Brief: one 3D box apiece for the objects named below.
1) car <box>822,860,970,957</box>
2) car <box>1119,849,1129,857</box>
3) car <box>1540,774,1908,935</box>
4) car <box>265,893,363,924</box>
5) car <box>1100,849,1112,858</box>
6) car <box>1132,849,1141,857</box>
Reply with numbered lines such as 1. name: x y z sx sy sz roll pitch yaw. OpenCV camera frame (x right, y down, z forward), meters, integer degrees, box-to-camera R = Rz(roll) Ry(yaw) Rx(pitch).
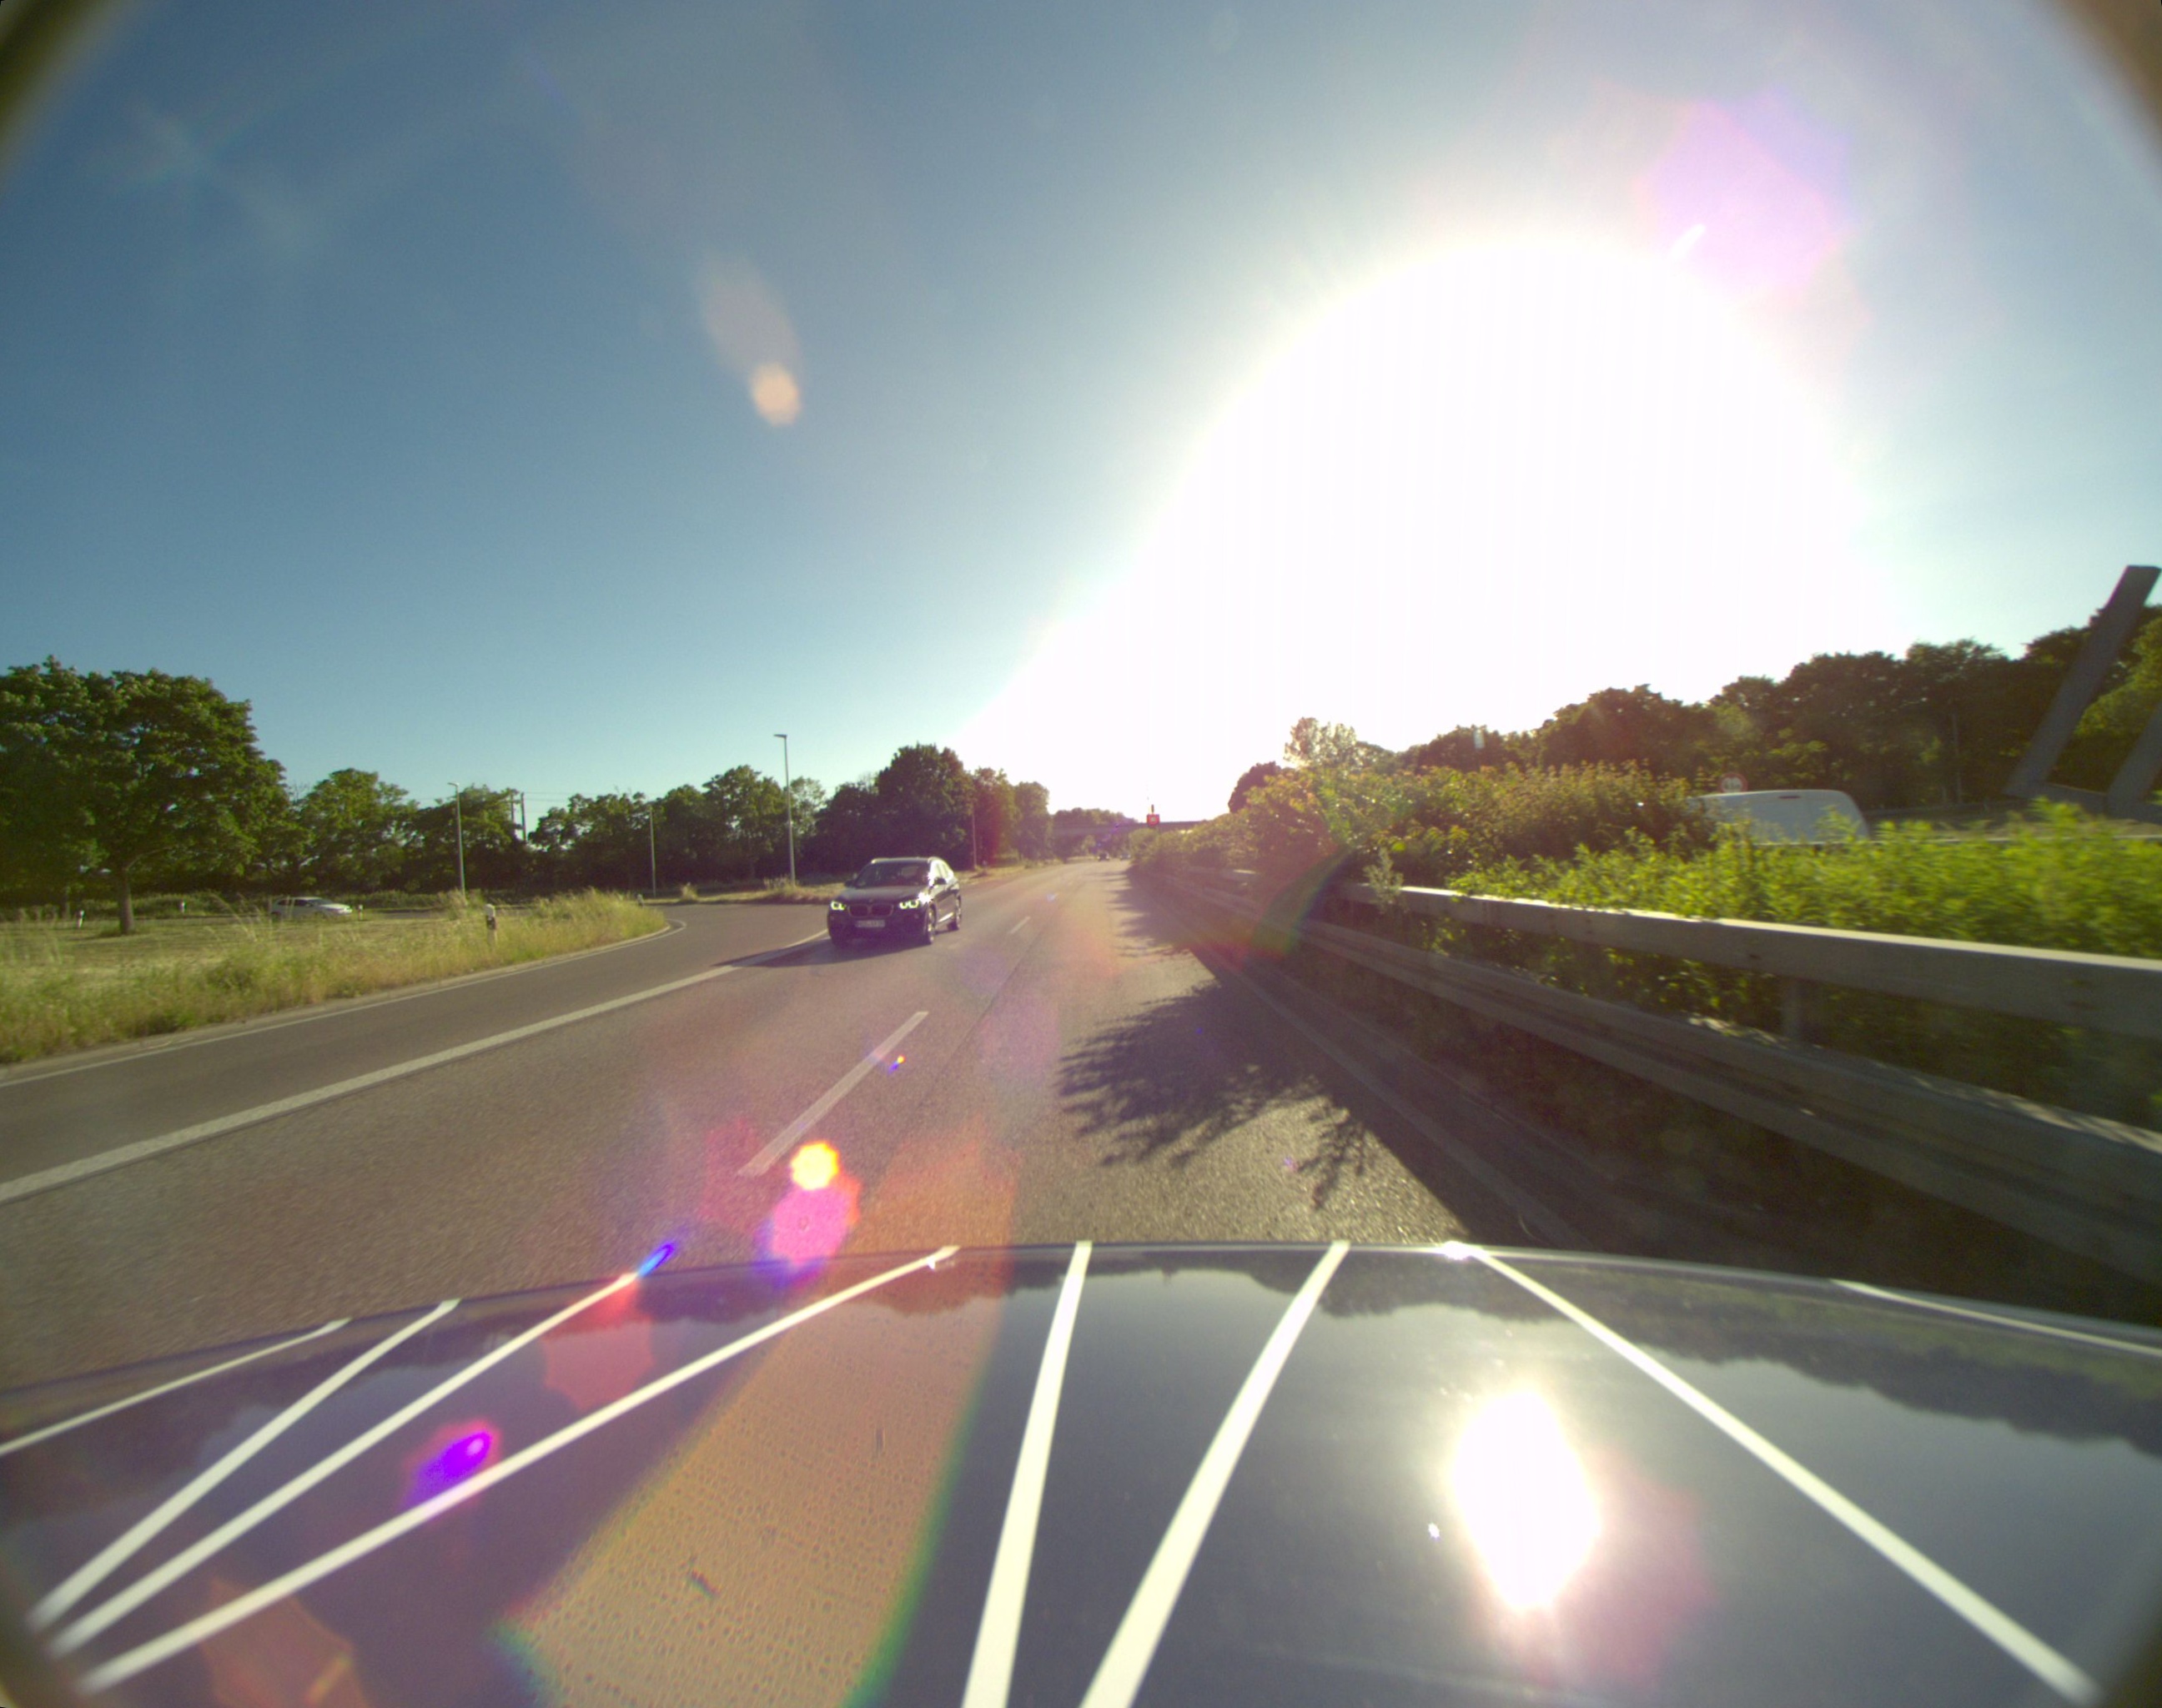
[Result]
1. car: -3.531 0.962 15.378 1.759 1.564 4.521 -1 0 1
2. car: 7.509 -0.166 132.292 1.725 1.412 3.670 -3 0 4
3. car: 8.304 0.014 10.368 1.689 1.706 3.896 -3 0 1
4. car: -48.108 3.398 47.745 3.999 1.681 1.868 -2 0 -6
5. car: 4.447 -0.046 134.317 1.682 1.412 3.671 -3 0 6
6. car: 11.777 -0.219 161.070 1.724 1.412 3.671 -3 0 7
